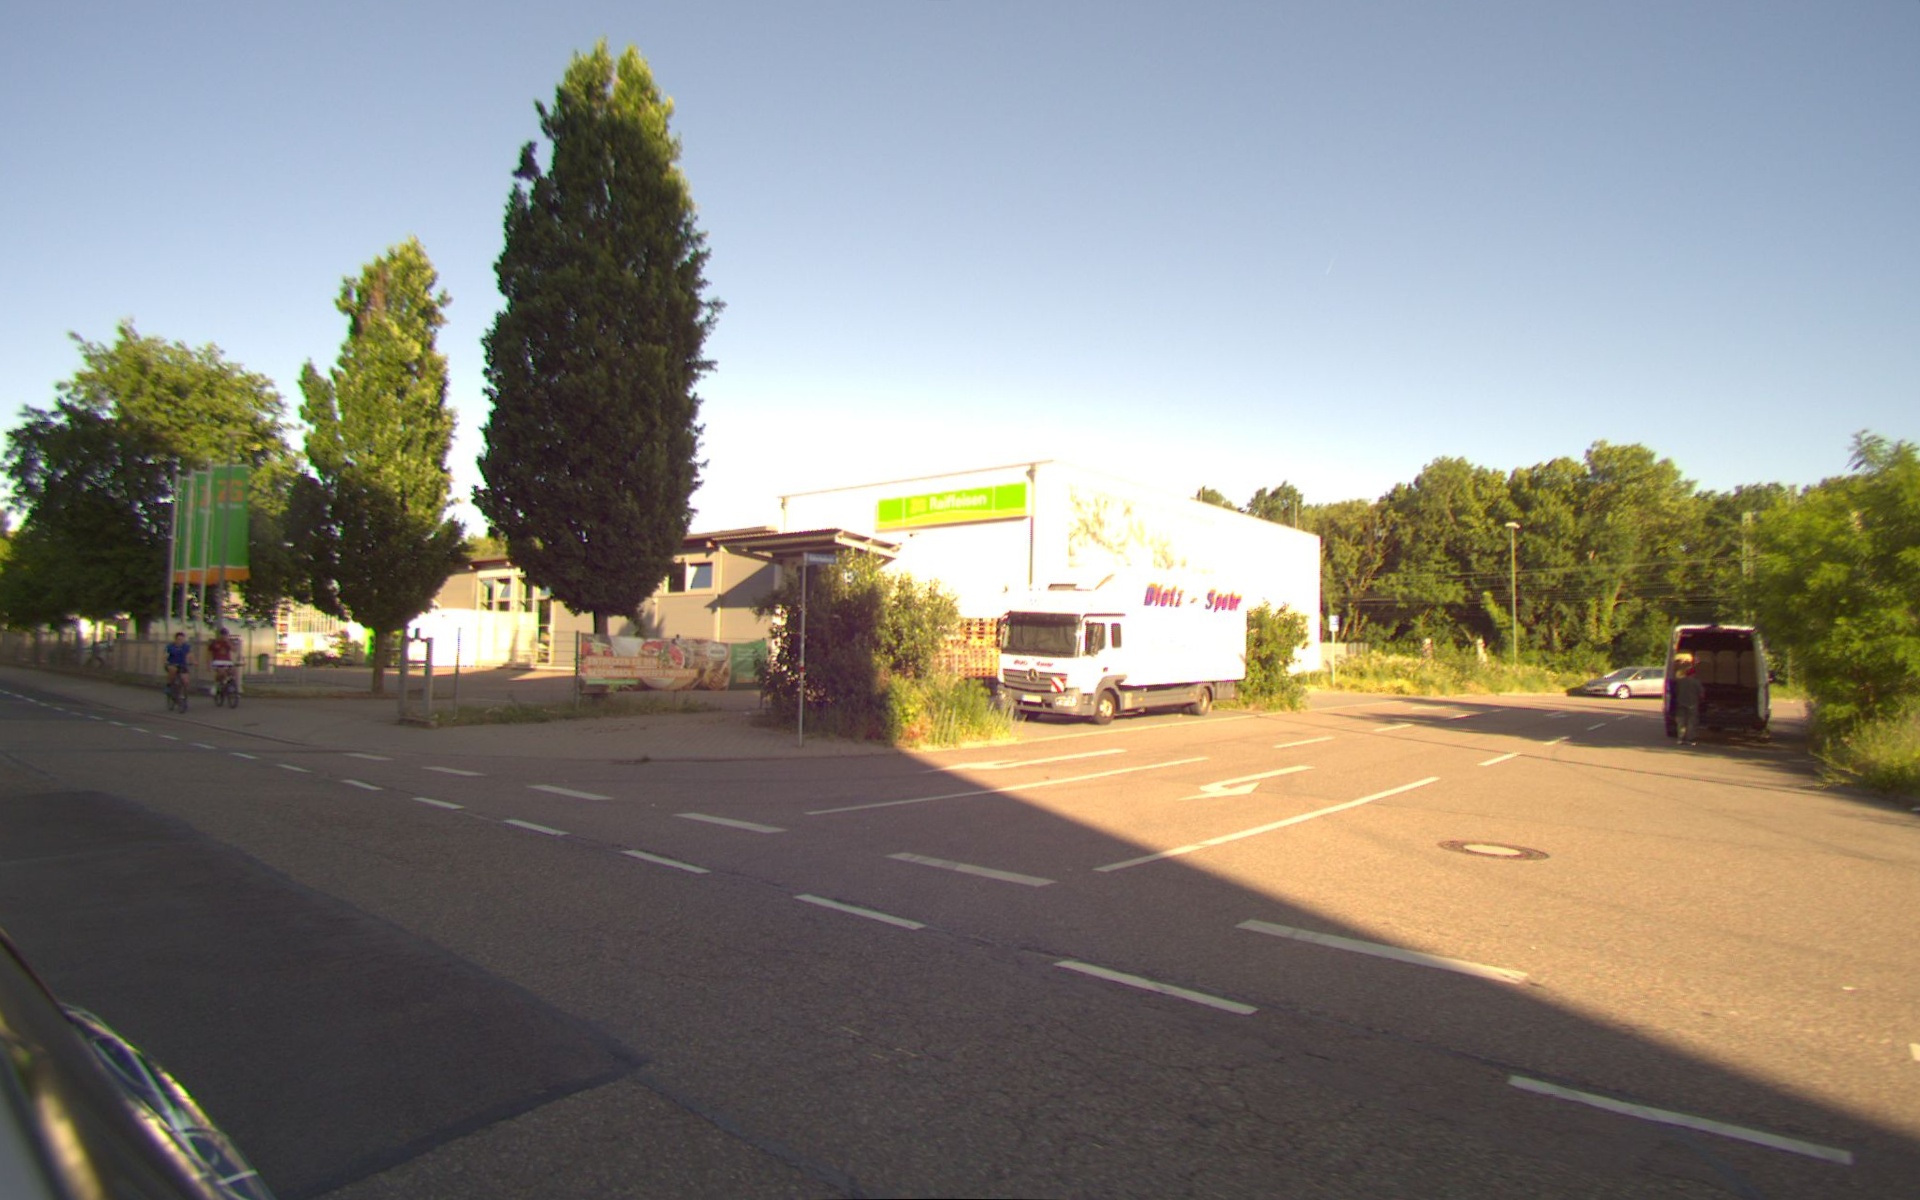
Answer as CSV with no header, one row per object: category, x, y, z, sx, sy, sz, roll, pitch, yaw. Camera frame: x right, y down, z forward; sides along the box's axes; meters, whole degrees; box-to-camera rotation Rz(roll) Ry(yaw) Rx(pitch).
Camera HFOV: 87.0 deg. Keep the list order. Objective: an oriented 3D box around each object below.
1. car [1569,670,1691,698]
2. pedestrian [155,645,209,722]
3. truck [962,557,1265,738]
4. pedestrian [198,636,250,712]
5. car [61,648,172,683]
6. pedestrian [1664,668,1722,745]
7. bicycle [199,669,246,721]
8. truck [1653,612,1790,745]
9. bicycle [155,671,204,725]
car,30.418,3.796,46.019,4.361,1.224,1.704,0,-4,0
pedestrian,-17.906,1.907,23.291,1.056,1.734,0.713,-3,-5,40
truck,4.265,1.168,25.159,2.773,3.642,9.997,-2,-3,39
pedestrian,-17.390,1.739,23.911,1.056,1.734,0.713,-3,-5,40
car,-41.585,3.276,49.974,1.784,1.523,3.850,-3,-7,40
pedestrian,16.298,2.353,22.511,0.915,1.652,0.918,-3,-5,41
bicycle,-17.411,2.219,23.890,1.868,1.157,0.465,-3,-3,40
truck,18.715,1.879,24.795,2.313,2.829,6.431,-2,-5,39
bicycle,-17.955,2.232,23.260,2.199,1.157,0.441,-3,-3,41
